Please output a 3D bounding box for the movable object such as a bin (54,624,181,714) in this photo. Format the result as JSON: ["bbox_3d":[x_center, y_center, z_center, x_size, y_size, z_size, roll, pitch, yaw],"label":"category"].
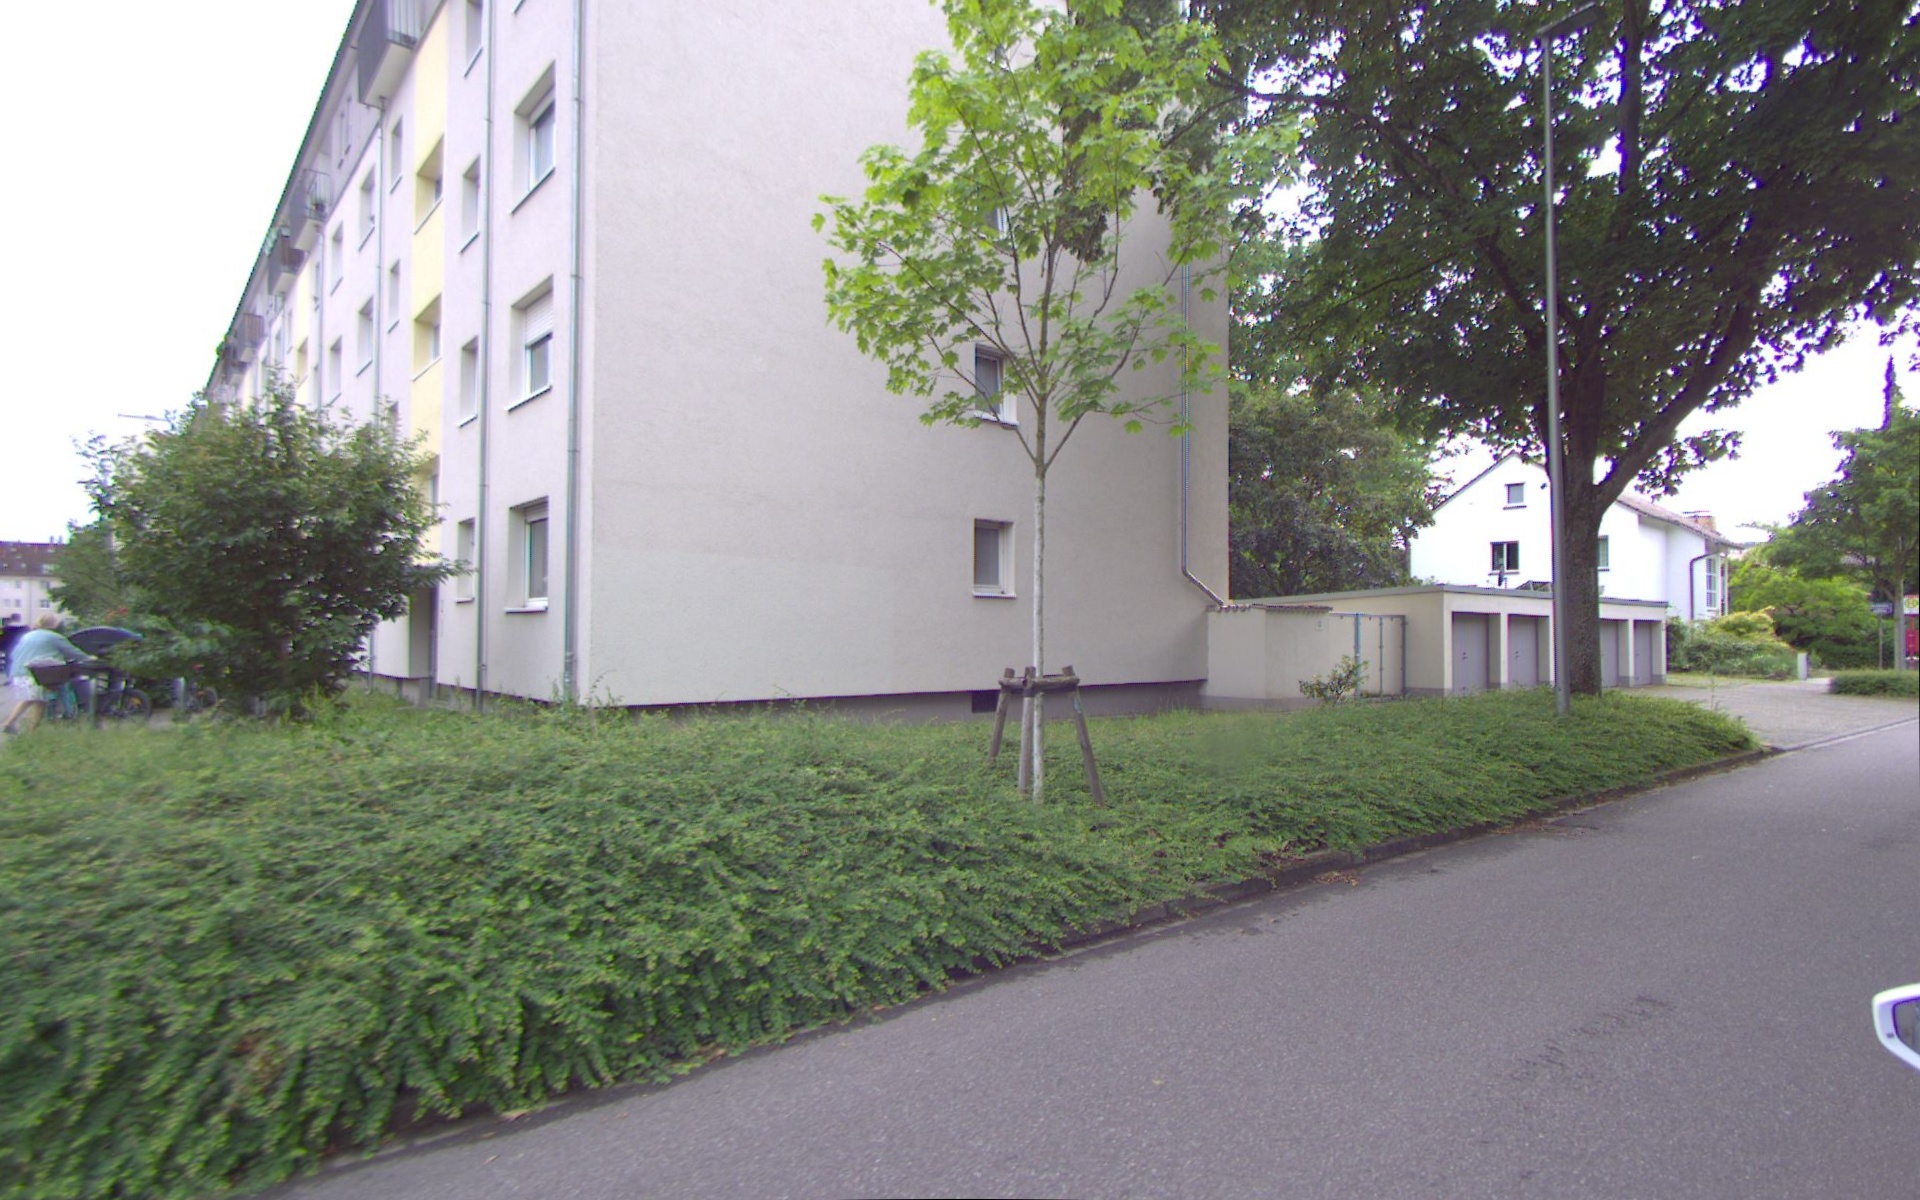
[{"bbox_3d":[-14.392,1.141,17.174,1.582,1.439,1.651,1,-3,-41],"label":"movable object such as a bin"}]

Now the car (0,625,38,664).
[{"bbox_3d":[-46.044,2.155,48.855,1.696,1.830,3.498,2,-3,-43],"label":"car"}]

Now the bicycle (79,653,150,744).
[{"bbox_3d":[-11.077,1.251,13.195,0.654,1.082,2.098,2,-3,-39],"label":"bicycle"}]

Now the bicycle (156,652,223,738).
[{"bbox_3d":[-10.747,1.275,13.986,0.654,1.084,2.151,2,-3,-39],"label":"bicycle"}]

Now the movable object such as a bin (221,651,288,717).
[{"bbox_3d":[-12.008,1.410,17.102,0.860,1.065,0.626,2,-3,-42],"label":"movable object such as a bin"}]

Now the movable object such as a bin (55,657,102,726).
[{"bbox_3d":[-13.872,1.421,15.813,0.534,1.046,0.591,2,-3,-42],"label":"movable object such as a bin"}]

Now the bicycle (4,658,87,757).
[{"bbox_3d":[-11.403,1.295,12.566,0.533,1.134,1.800,1,-3,-35],"label":"bicycle"}]

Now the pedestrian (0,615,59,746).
[{"bbox_3d":[-11.499,0.986,12.411,0.444,1.570,0.562,1,-3,-36],"label":"pedestrian"}]

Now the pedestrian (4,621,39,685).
[{"bbox_3d":[-25.080,1.397,26.852,0.611,1.679,0.794,1,-1,-40],"label":"pedestrian"}]

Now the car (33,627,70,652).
[{"bbox_3d":[-75.762,3.319,83.754,2.174,2.058,4.368,2,-3,-43],"label":"car"}]

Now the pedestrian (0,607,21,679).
[{"bbox_3d":[-25.077,1.124,26.263,0.703,1.878,0.754,2,-2,-41],"label":"pedestrian"}]

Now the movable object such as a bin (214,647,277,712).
[{"bbox_3d":[-12.862,1.421,18.085,0.838,1.131,0.590,2,-3,-43],"label":"movable object such as a bin"}]
